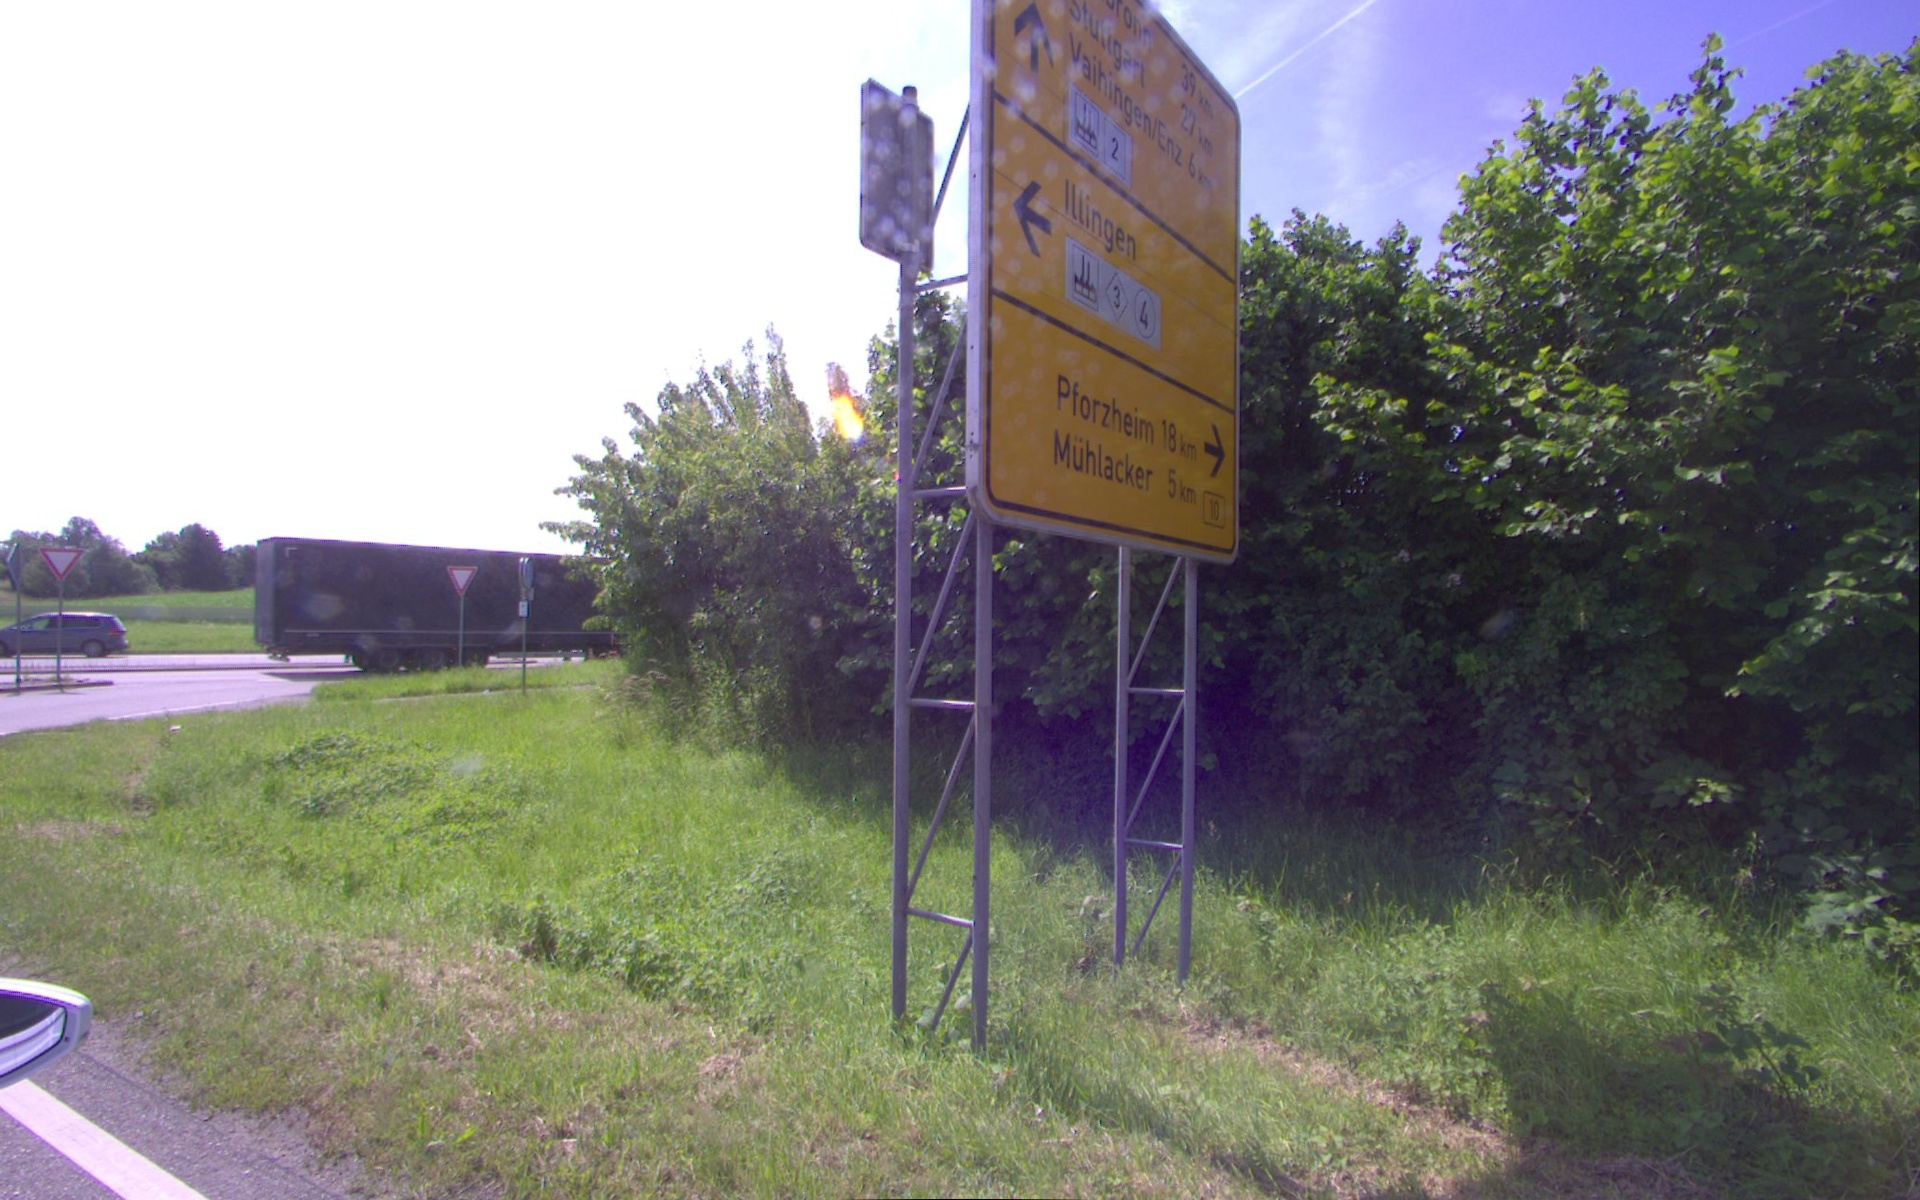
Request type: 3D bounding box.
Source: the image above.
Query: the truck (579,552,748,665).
[{"bbox_3d":[-11.579,0.401,39.483,2.766,4.114,5.799,1,-1,41],"label":"truck"}]

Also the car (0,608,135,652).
[{"bbox_3d":[-34.081,1.150,38.079,3.946,1.616,1.655,2,-2,-32],"label":"car"}]

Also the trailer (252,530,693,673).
[{"bbox_3d":[-16.020,0.243,34.678,2.768,4.114,13.610,1,-1,43],"label":"trailer"}]
